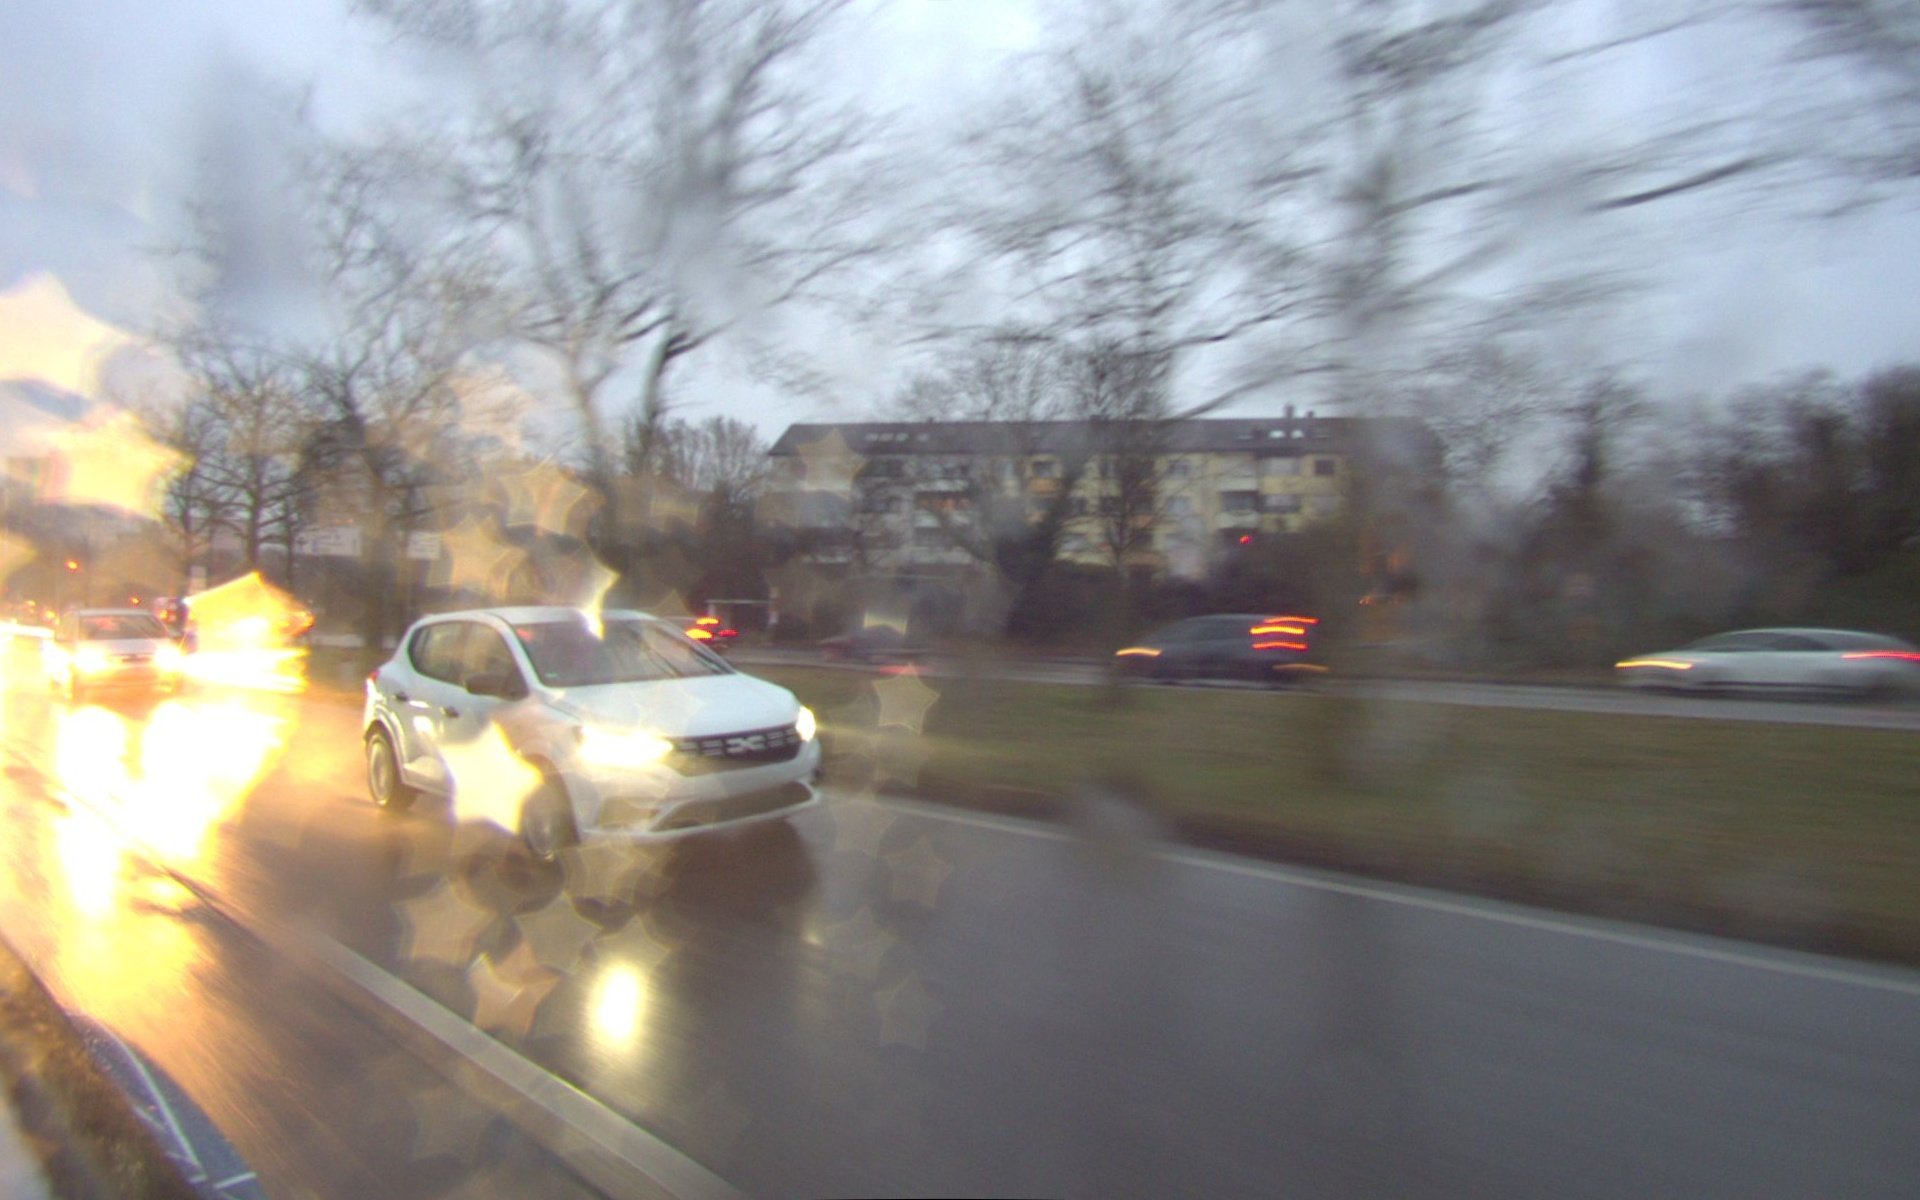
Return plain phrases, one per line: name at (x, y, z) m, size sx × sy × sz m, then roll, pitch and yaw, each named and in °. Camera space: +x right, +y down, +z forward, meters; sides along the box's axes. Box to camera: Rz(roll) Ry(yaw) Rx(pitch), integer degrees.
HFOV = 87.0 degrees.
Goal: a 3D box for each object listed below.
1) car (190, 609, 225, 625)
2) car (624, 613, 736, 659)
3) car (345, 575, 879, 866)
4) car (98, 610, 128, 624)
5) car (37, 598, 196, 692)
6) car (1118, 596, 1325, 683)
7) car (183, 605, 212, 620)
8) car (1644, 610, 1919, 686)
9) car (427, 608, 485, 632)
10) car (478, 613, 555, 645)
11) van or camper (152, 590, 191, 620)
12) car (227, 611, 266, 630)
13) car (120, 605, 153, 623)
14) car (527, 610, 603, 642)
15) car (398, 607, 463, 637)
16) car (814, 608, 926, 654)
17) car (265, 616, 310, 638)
car at (-60.751, 1.368, 81.697) m, size 3.999 × 1.302 × 1.521 m, roll 0°, pitch -1°, yaw 42°
car at (-10.068, 1.238, 36.231) m, size 4.376 × 1.545 × 1.764 m, roll 0°, pitch -1°, yaw 42°
car at (-2.642, 0.624, 7.112) m, size 4.224 × 1.451 × 1.706 m, roll 0°, pitch -1°, yaw 42°
car at (-76.122, 1.504, 90.922) m, size 3.998 × 1.206 × 1.440 m, roll 0°, pitch 0°, yaw 41°
car at (-16.291, 0.800, 19.472) m, size 4.163 × 1.611 × 1.743 m, roll 0°, pitch -1°, yaw 42°
car at (5.502, 0.797, 21.581) m, size 3.979 × 1.694 × 1.600 m, roll -1°, pitch -1°, yaw 42°
car at (-74.153, 1.239, 98.436) m, size 4.000 × 1.415 × 1.553 m, roll 0°, pitch 0°, yaw 43°
car at (16.798, 0.919, 20.844) m, size 4.298 × 1.405 × 1.730 m, roll 0°, pitch -1°, yaw 42°
car at (-29.120, 1.130, 58.438) m, size 3.701 × 1.364 × 1.632 m, roll 0°, pitch -1°, yaw 39°
car at (-19.608, 1.255, 44.692) m, size 3.955 × 1.364 × 1.631 m, roll 0°, pitch -1°, yaw 42°
van or camper at (-71.331, 0.460, 91.538) m, size 4.737 × 2.629 × 1.942 m, roll 0°, pitch -1°, yaw 42°
car at (-52.263, 1.497, 74.110) m, size 3.999 × 1.321 × 1.521 m, roll 0°, pitch -1°, yaw 42°
car at (-71.329, 1.222, 87.650) m, size 3.999 × 1.514 × 1.553 m, roll 0°, pitch 0°, yaw 42°
car at (-19.303, 1.242, 49.411) m, size 4.270 × 1.500 × 1.700 m, roll 0°, pitch -1°, yaw 42°
car at (-26.989, 1.104, 51.567) m, size 3.955 × 1.511 × 1.631 m, roll 0°, pitch -1°, yaw 42°
car at (-3.067, 1.014, 34.102) m, size 3.790 × 1.479 × 1.614 m, roll 0°, pitch -1°, yaw 42°
car at (-44.446, 1.762, 66.849) m, size 3.955 × 1.338 × 1.521 m, roll 0°, pitch -1°, yaw 42°
